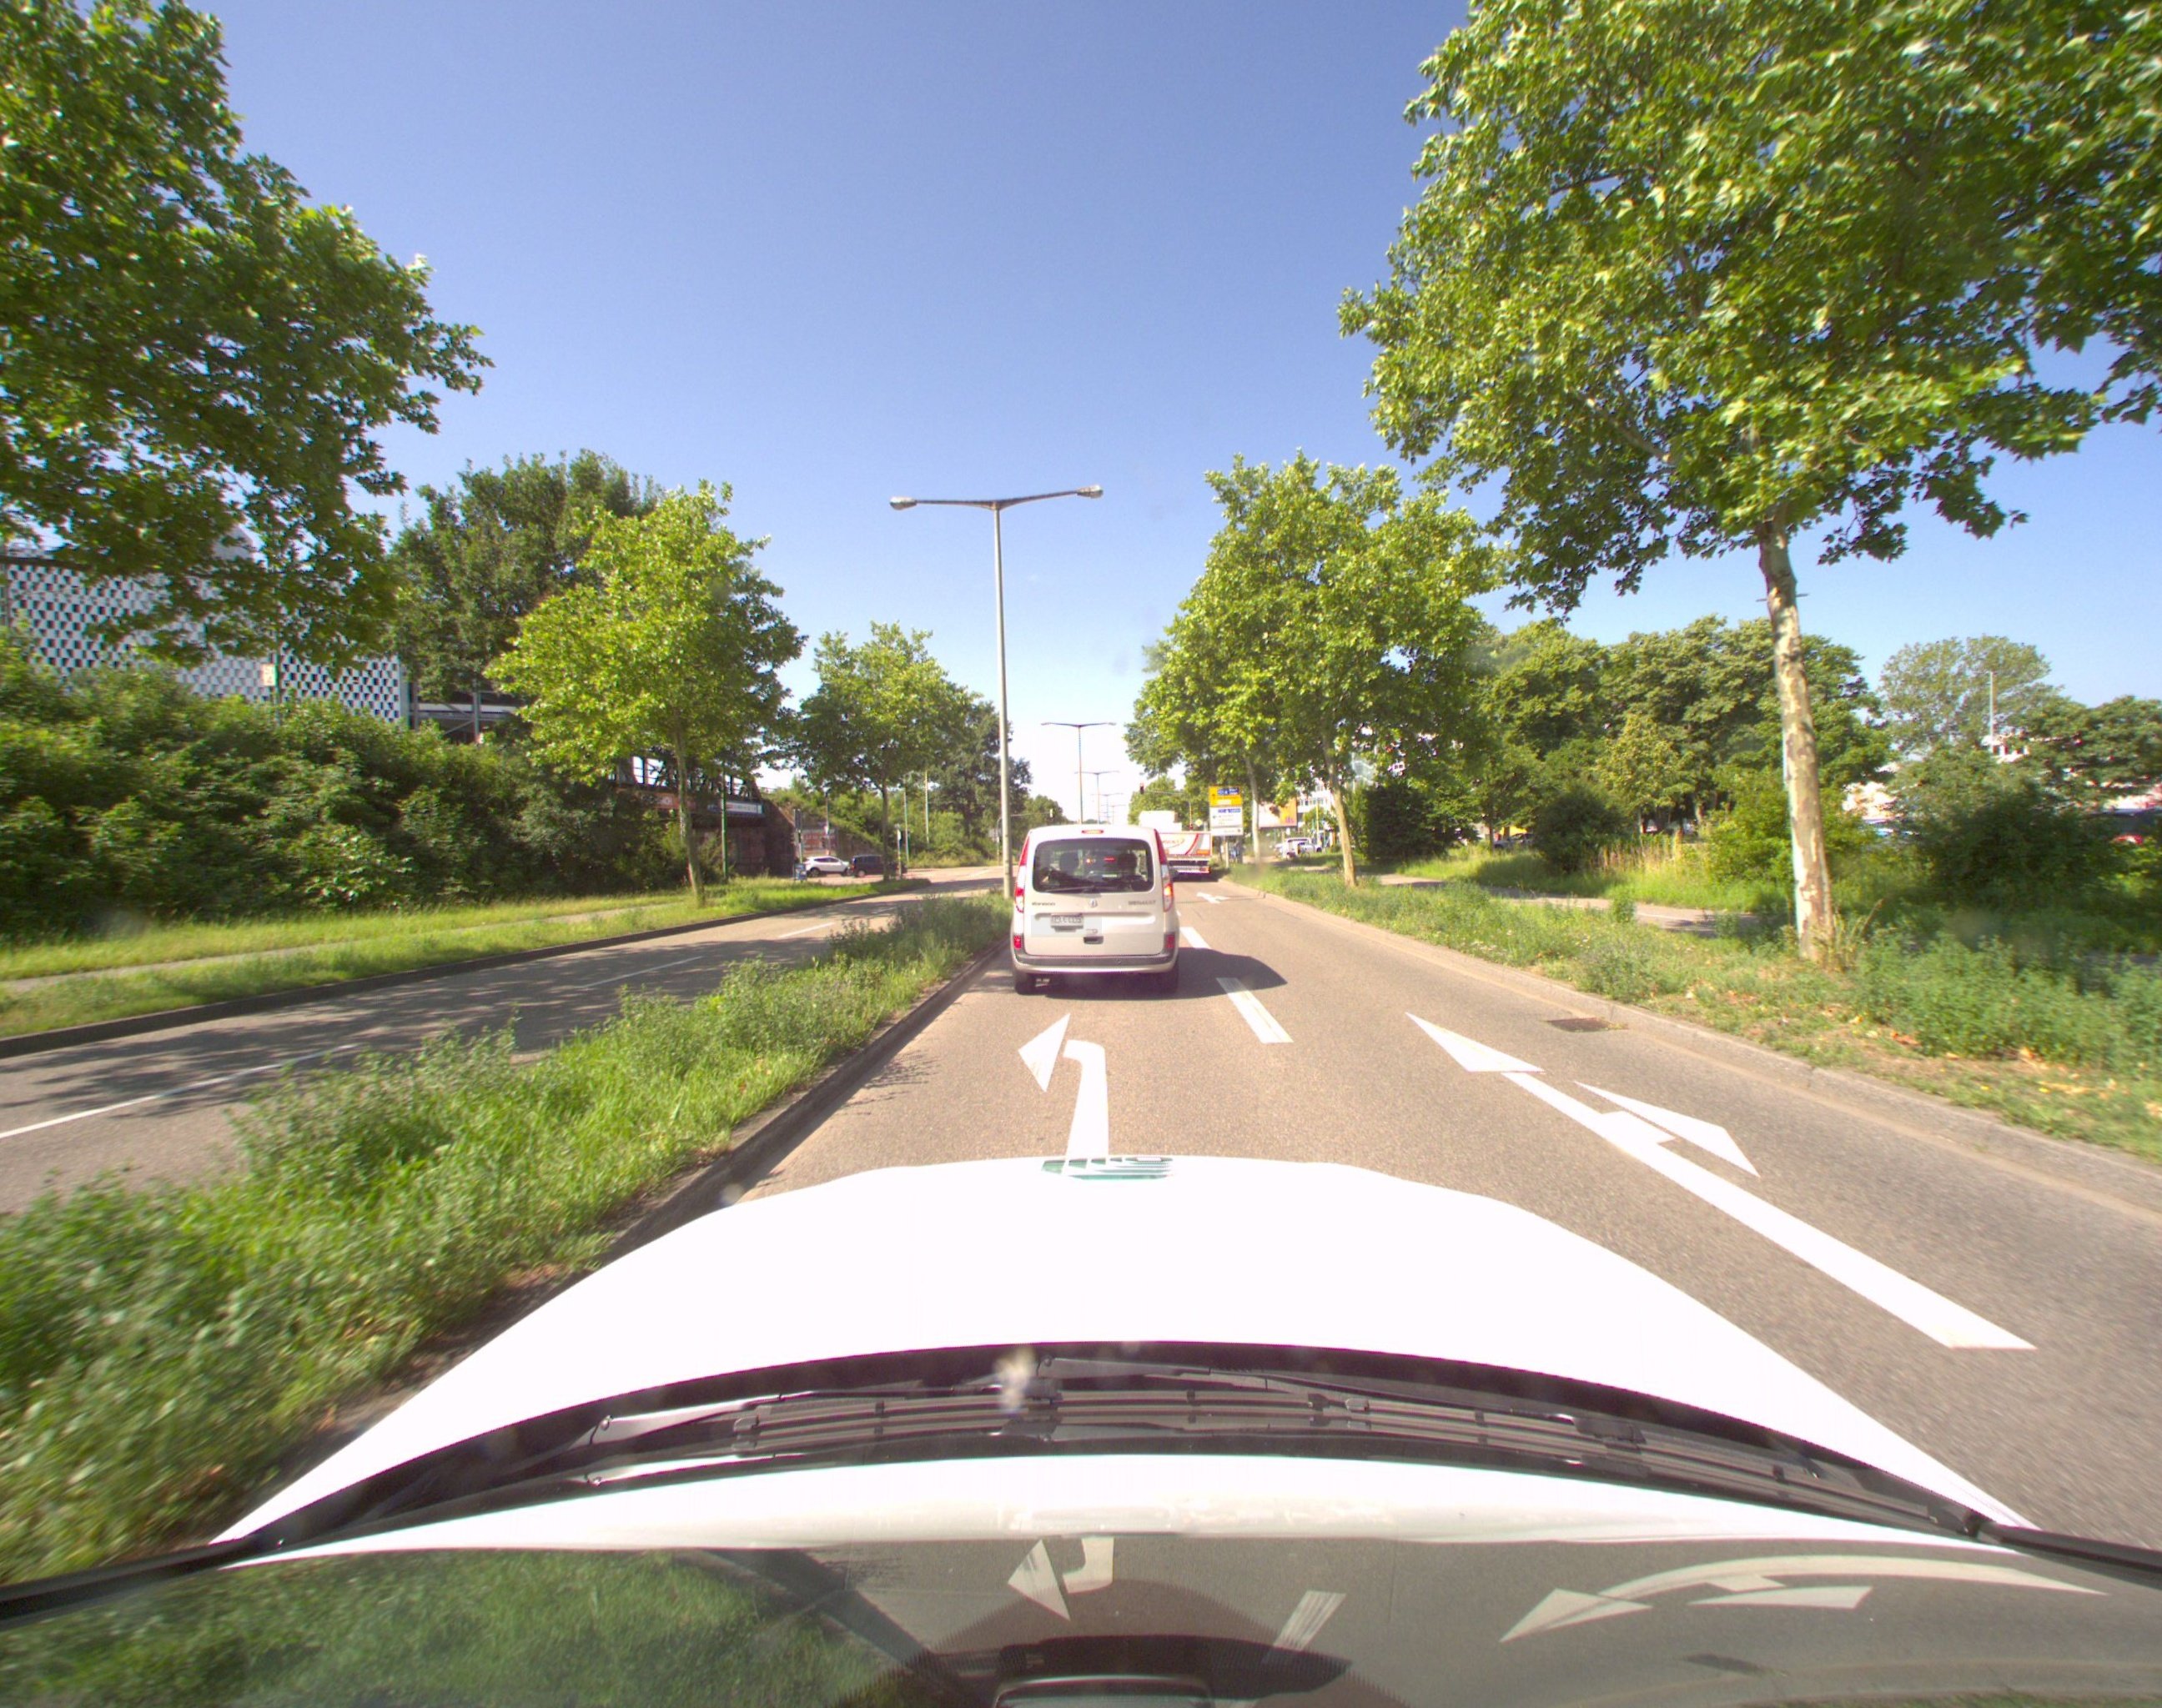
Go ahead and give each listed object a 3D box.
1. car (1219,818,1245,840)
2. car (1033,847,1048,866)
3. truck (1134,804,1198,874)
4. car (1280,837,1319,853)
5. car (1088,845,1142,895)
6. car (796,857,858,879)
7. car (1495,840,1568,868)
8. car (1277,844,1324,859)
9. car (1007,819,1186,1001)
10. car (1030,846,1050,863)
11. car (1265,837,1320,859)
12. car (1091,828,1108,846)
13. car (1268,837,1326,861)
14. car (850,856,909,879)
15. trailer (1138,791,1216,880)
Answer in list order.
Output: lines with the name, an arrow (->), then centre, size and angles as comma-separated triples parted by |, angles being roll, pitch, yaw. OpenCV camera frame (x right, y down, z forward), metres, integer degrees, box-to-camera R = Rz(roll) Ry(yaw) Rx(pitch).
car -> 13.089, -2.145, 70.905 | 1.808, 1.795, 3.447 | -1, 0, 4
car -> -5.872, 0.317, 116.832 | 2.055, 2.614, 5.861 | -1, 0, -4
truck -> 4.802, -0.814, 47.478 | 3.060, 3.758, 7.478 | -1, 0, 1
car -> 28.635, -1.210, 106.781 | 4.508, 2.013, 2.000 | -1, 0, 0
car -> 1.164, 0.550, 29.622 | 1.804, 1.684, 3.999 | -1, 0, 0
car -> -19.523, 1.061, 62.601 | 4.130, 1.627, 1.980 | -1, 0, -33
car -> 28.470, -0.006, 51.526 | 1.778, 1.716, 3.703 | 0, 0, -45
car -> 21.614, -0.268, 80.216 | 4.465, 1.427, 1.715 | -1, 0, -28
car -> 0.213, 0.554, 10.012 | 1.742, 1.772, 3.951 | -1, 0, 2
car -> -5.018, 0.081, 100.033 | 1.986, 1.891, 4.989 | -4, 0, 1
car -> 16.319, -0.468, 62.956 | 3.965, 1.662, 1.727 | -1, 0, 7
car -> 2.151, -1.990, 96.175 | 1.710, 2.013, 3.995 | -1, 0, -3
car -> 15.741, -0.374, 59.488 | 3.965, 1.662, 1.727 | -1, 0, 7
car -> -14.889, 0.963, 60.062 | 4.001, 1.574, 1.925 | -1, 0, -21
trailer -> 4.530, -0.796, 40.989 | 3.004, 3.740, 12.247 | -1, 0, 2
